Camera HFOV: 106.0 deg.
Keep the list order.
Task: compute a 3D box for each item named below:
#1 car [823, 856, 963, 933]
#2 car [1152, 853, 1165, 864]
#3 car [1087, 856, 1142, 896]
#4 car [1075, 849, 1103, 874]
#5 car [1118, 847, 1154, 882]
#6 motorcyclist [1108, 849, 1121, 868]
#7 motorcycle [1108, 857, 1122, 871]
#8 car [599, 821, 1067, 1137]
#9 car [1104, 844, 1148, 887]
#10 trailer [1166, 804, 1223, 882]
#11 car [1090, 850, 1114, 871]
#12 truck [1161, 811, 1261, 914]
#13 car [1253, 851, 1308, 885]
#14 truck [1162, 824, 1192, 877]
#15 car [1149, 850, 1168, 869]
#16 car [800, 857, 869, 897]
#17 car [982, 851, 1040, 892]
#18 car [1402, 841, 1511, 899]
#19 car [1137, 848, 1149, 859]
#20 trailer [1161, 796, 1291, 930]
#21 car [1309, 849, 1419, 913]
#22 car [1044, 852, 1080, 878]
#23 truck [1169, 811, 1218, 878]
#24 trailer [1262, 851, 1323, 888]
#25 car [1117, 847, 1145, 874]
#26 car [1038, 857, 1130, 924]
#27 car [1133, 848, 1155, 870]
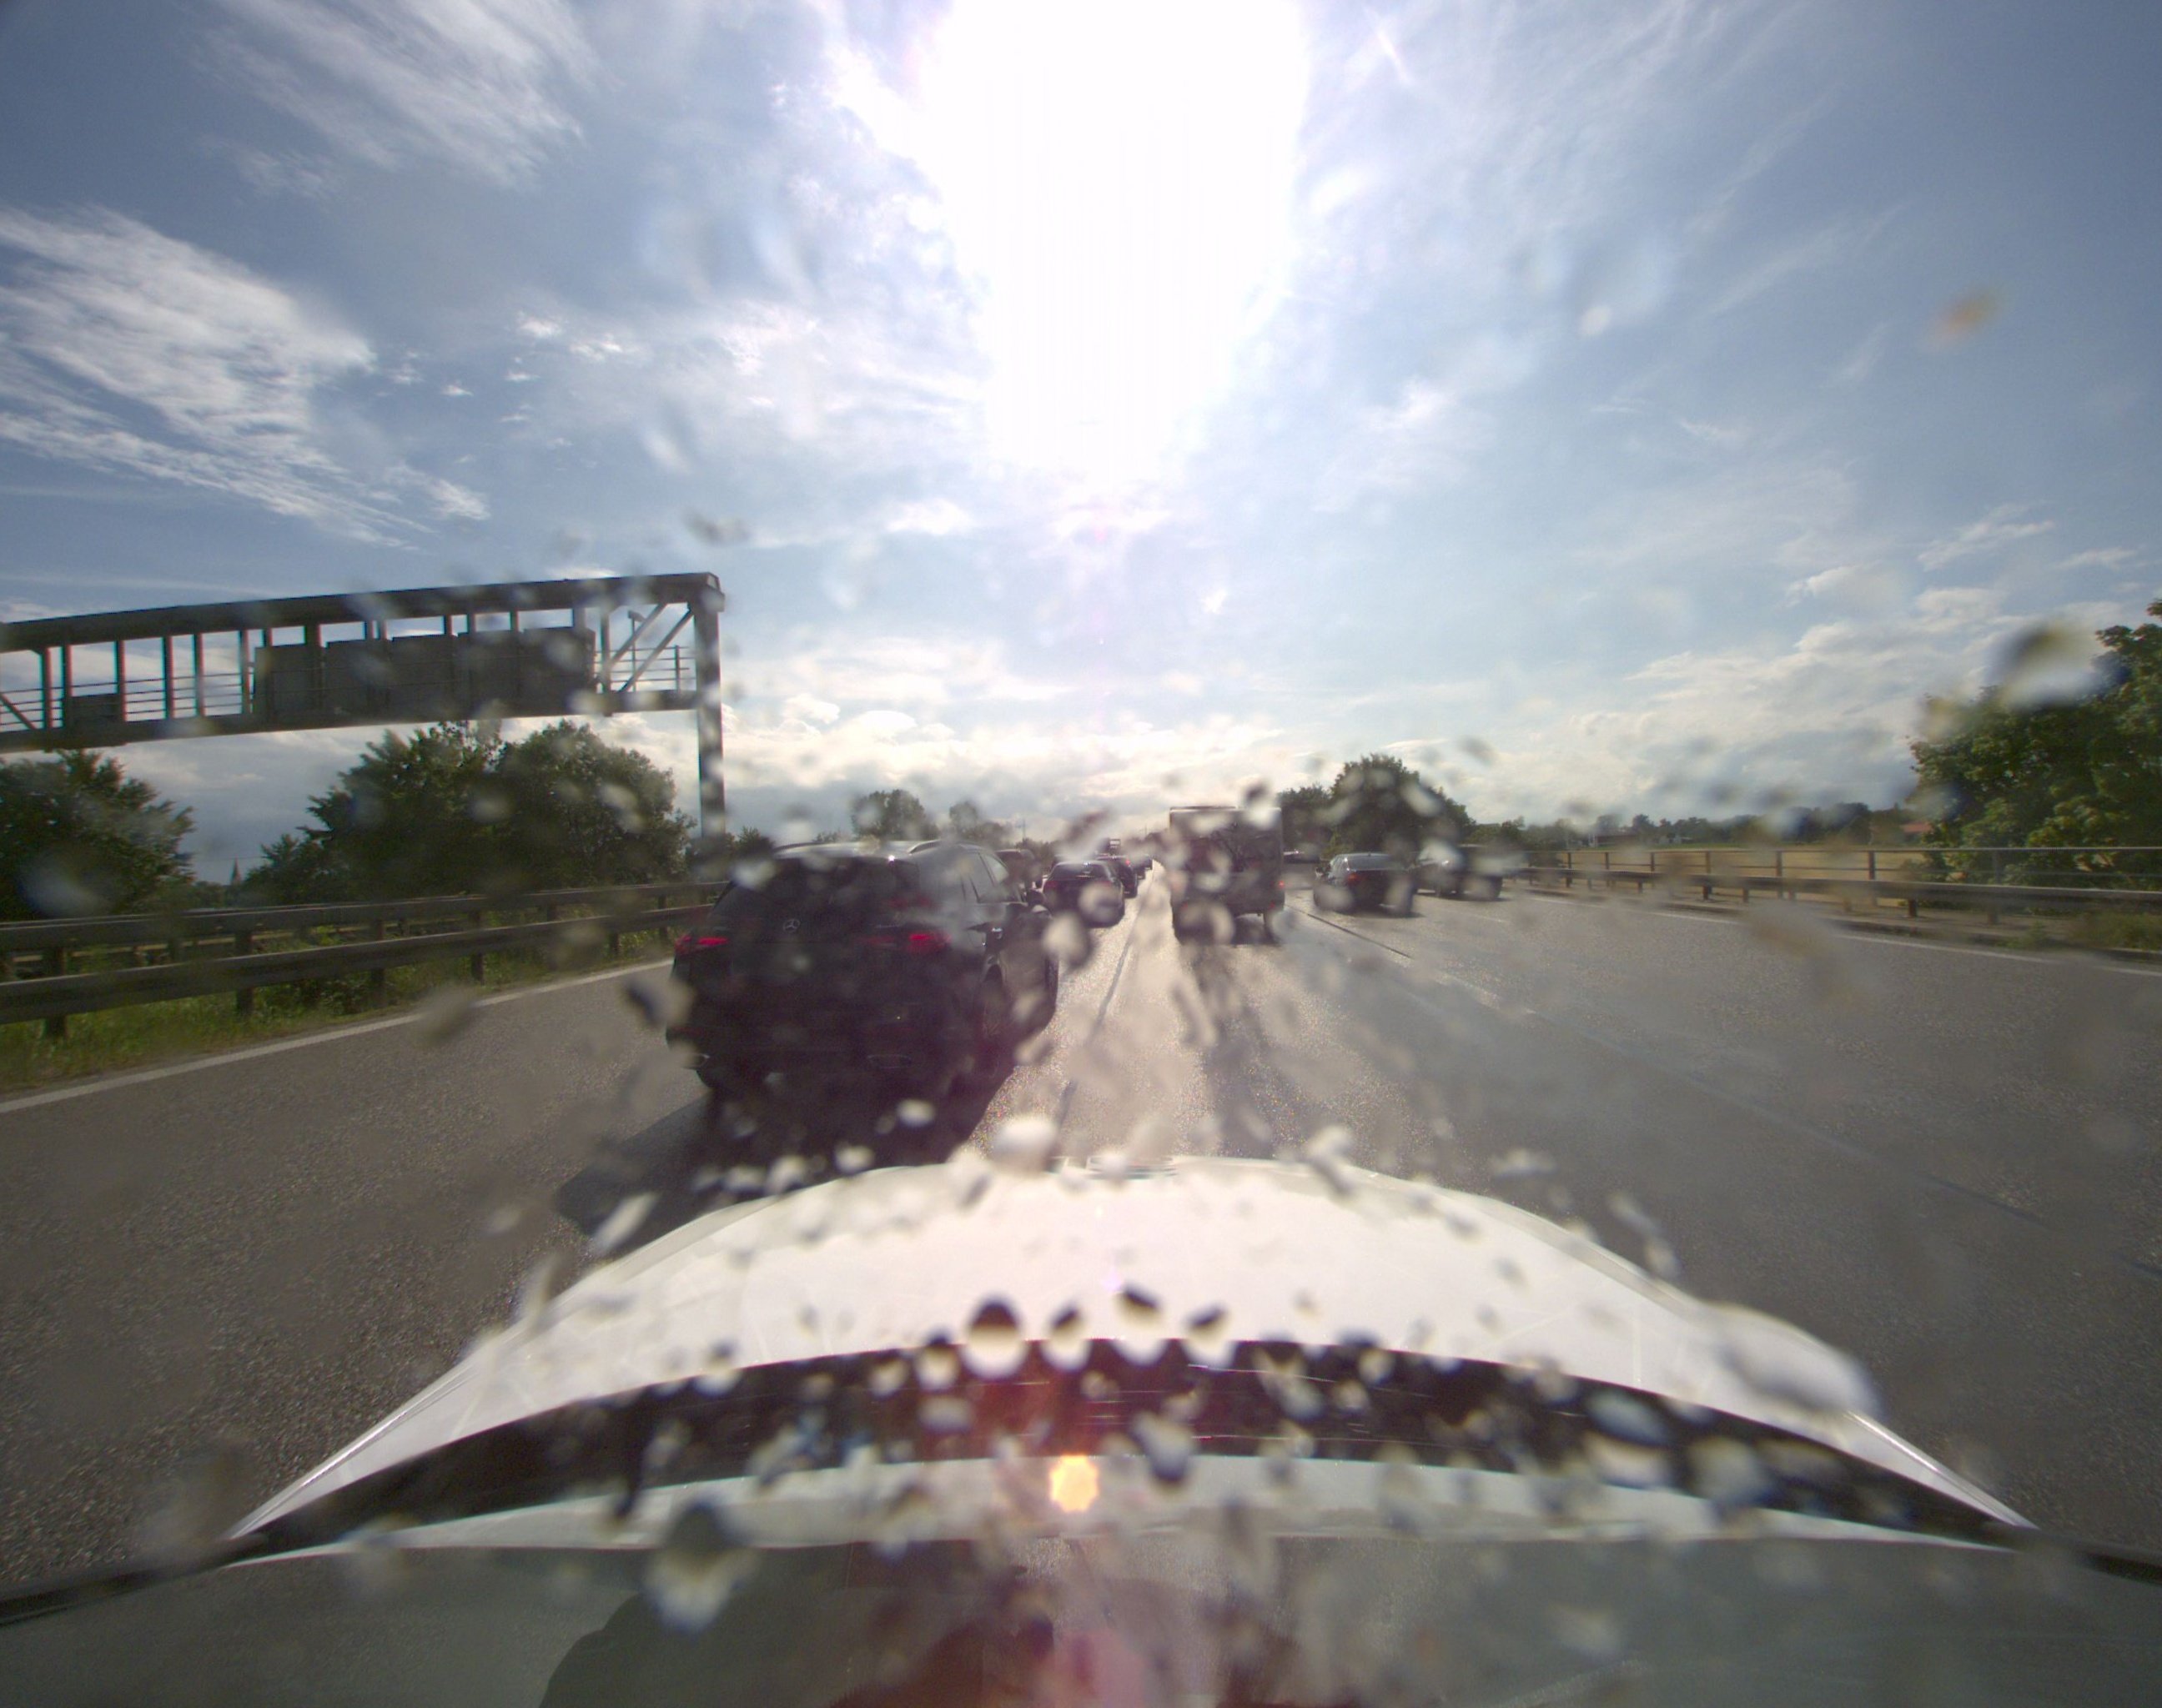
[{"bbox_3d":[-4.114,0.832,18.579,1.748,1.516,4.216,-2,0,6],"label":"car"},{"bbox_3d":[12.690,0.710,133.530,1.868,1.760,4.003,-1,0,3],"label":"car"},{"bbox_3d":[1.316,0.779,30.493,1.797,1.407,4.006,-1,0,6],"label":"car"},{"bbox_3d":[0.706,0.655,70.427,1.983,2.013,4.007,2,0,6],"label":"car"},{"bbox_3d":[3.455,0.634,50.825,1.983,2.013,4.007,2,0,6],"label":"car"},{"bbox_3d":[3.065,0.391,74.264,1.058,1.718,0.786,-1,-1,6],"label":"motorcyclist"},{"bbox_3d":[3.068,0.920,74.184,1.068,1.271,2.695,-1,0,6],"label":"motorcycle"},{"bbox_3d":[-1.402,0.687,6.573,1.983,1.661,4.413,-1,0,6],"label":"car"},{"bbox_3d":[2.297,0.540,40.891,1.983,2.013,4.007,-1,0,6],"label":"car"},{"bbox_3d":[6.667,-0.574,48.008,2.990,4.166,8.554,-1,0,8],"label":"trailer"},{"bbox_3d":[2.161,0.653,83.430,1.983,2.013,4.007,-2,0,6],"label":"car"},{"bbox_3d":[3.424,0.221,22.622,2.363,2.477,5.764,-1,0,5],"label":"truck"},{"bbox_3d":[9.166,0.597,37.721,1.845,1.442,4.264,-1,0,5],"label":"car"},{"bbox_3d":[9.158,-0.325,78.105,2.490,4.830,7.552,-1,0,4],"label":"truck"},{"bbox_3d":[8.284,0.569,86.929,1.983,2.013,4.007,0,0,6],"label":"car"},{"bbox_3d":[-13.508,1.231,44.911,1.984,2.013,4.659,-1,0,5],"label":"car"},{"bbox_3d":[-3.084,0.753,36.752,1.984,1.720,4.004,-1,0,4],"label":"car"},{"bbox_3d":[11.686,0.456,25.675,1.779,1.613,4.392,-1,0,6],"label":"car"},{"bbox_3d":[10.480,-0.045,137.906,1.868,1.760,4.003,-1,0,3],"label":"car"},{"bbox_3d":[3.028,0.196,18.512,2.362,2.483,6.532,-1,0,5],"label":"trailer"},{"bbox_3d":[6.991,0.615,20.519,1.732,1.420,3.841,-1,0,5],"label":"car"},{"bbox_3d":[-1.267,0.743,57.135,1.983,1.772,4.007,-1,0,6],"label":"car"},{"bbox_3d":[7.402,-0.570,53.510,2.979,4.166,5.251,-1,0,7],"label":"truck"},{"bbox_3d":[8.850,0.607,34.387,1.845,1.442,4.154,-1,0,5],"label":"trailer"},{"bbox_3d":[4.028,0.523,64.603,1.983,2.013,4.007,-1,0,6],"label":"car"},{"bbox_3d":[0.178,0.809,19.634,1.748,1.387,3.952,-2,0,6],"label":"car"},{"bbox_3d":[6.165,0.488,79.250,1.983,2.013,4.007,-2,0,6],"label":"car"}]
